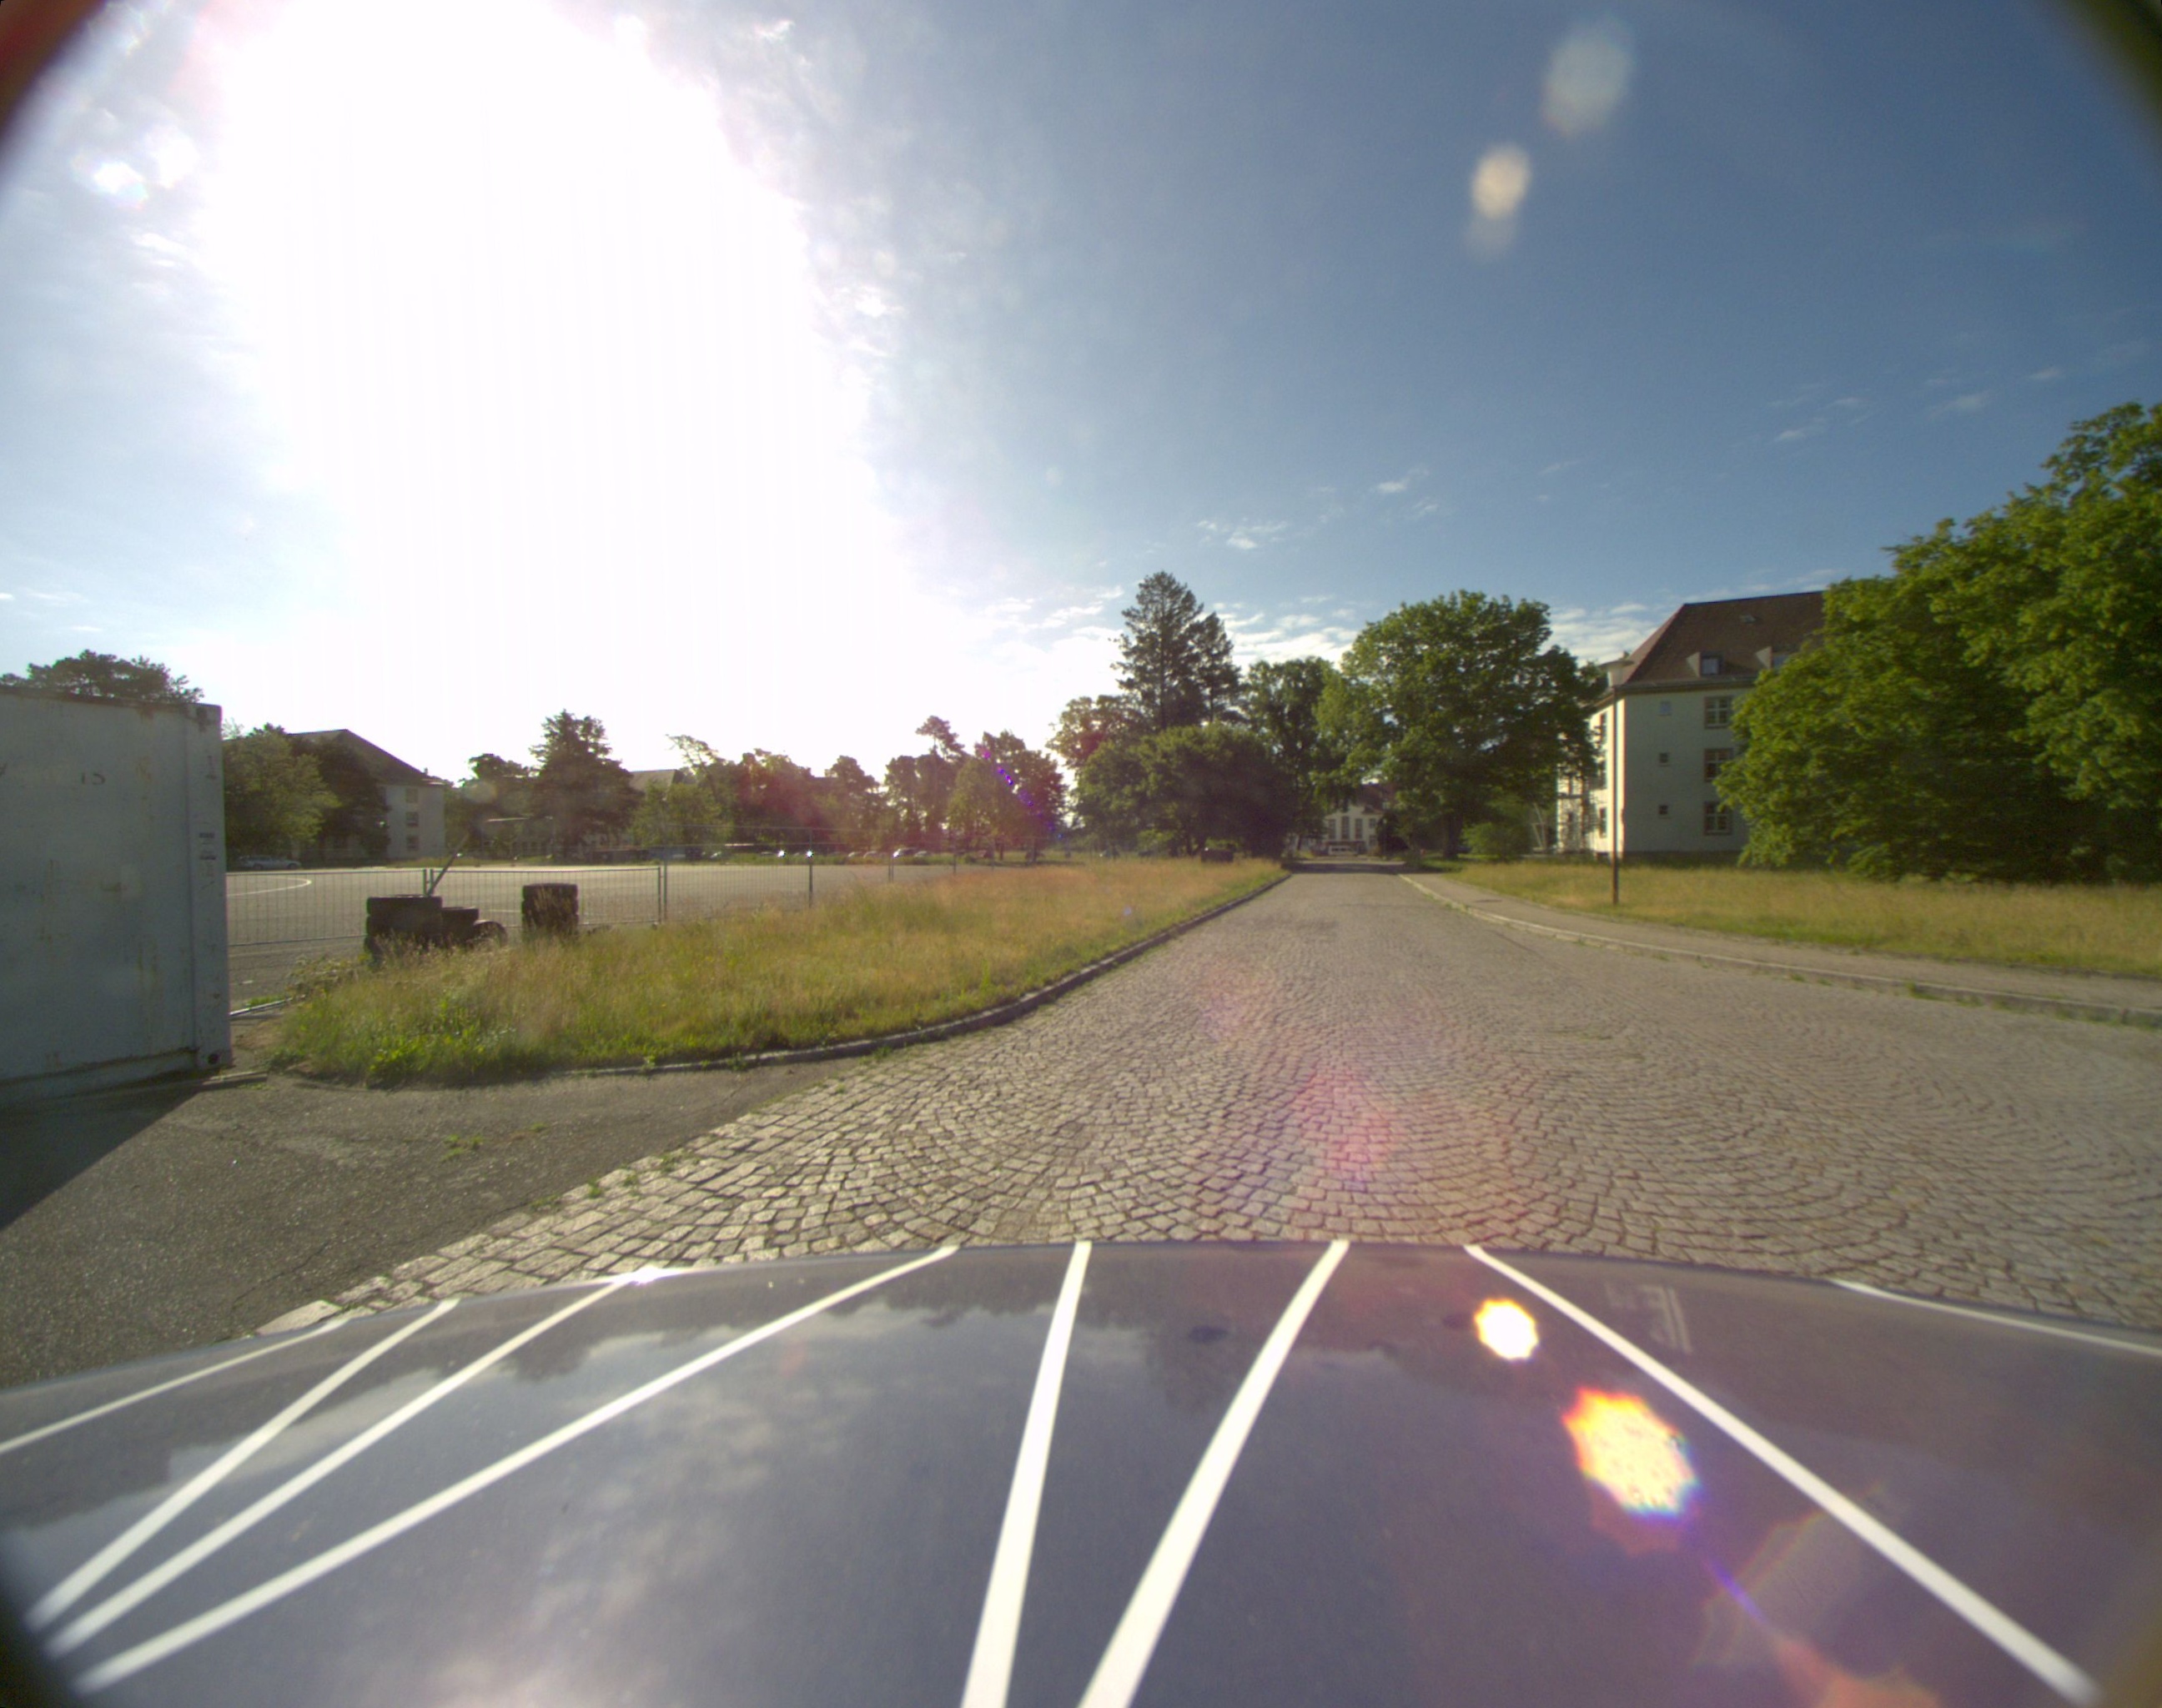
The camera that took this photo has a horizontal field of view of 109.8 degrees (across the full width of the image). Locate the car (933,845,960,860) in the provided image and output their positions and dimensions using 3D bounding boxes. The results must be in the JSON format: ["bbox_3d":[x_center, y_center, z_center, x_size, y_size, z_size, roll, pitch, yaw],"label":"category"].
[{"bbox_3d":[-18.784,-0.238,106.261,1.996,2.002,4.005,0,1,19],"label":"car"}]

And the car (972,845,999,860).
[{"bbox_3d":[-12.894,-0.233,102.864,1.996,2.002,4.005,0,1,18],"label":"car"}]

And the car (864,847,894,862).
[{"bbox_3d":[-28.810,0.033,108.428,1.995,2.002,4.006,-3,0,26],"label":"car"}]

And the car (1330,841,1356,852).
[{"bbox_3d":[50.503,-1.406,146.498,4.863,2.083,2.003,0,1,19],"label":"car"}]

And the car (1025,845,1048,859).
[{"bbox_3d":[-5.872,-0.315,100.351,1.996,1.805,4.003,0,1,13],"label":"car"}]

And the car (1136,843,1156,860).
[{"bbox_3d":[8.155,-0.321,94.994,1.996,2.002,4.003,0,1,13],"label":"car"}]

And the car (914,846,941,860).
[{"bbox_3d":[-21.428,-0.169,105.966,1.996,1.936,4.005,0,1,17],"label":"car"}]

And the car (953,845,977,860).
[{"bbox_3d":[-15.787,-0.196,103.527,1.997,2.002,4.003,0,1,11],"label":"car"}]

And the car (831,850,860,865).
[{"bbox_3d":[-34.200,0.468,110.308,1.996,2.002,4.005,-3,0,18],"label":"car"}]

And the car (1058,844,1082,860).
[{"bbox_3d":[-1.364,-0.254,99.202,1.996,2.002,4.005,0,1,17],"label":"car"}]
